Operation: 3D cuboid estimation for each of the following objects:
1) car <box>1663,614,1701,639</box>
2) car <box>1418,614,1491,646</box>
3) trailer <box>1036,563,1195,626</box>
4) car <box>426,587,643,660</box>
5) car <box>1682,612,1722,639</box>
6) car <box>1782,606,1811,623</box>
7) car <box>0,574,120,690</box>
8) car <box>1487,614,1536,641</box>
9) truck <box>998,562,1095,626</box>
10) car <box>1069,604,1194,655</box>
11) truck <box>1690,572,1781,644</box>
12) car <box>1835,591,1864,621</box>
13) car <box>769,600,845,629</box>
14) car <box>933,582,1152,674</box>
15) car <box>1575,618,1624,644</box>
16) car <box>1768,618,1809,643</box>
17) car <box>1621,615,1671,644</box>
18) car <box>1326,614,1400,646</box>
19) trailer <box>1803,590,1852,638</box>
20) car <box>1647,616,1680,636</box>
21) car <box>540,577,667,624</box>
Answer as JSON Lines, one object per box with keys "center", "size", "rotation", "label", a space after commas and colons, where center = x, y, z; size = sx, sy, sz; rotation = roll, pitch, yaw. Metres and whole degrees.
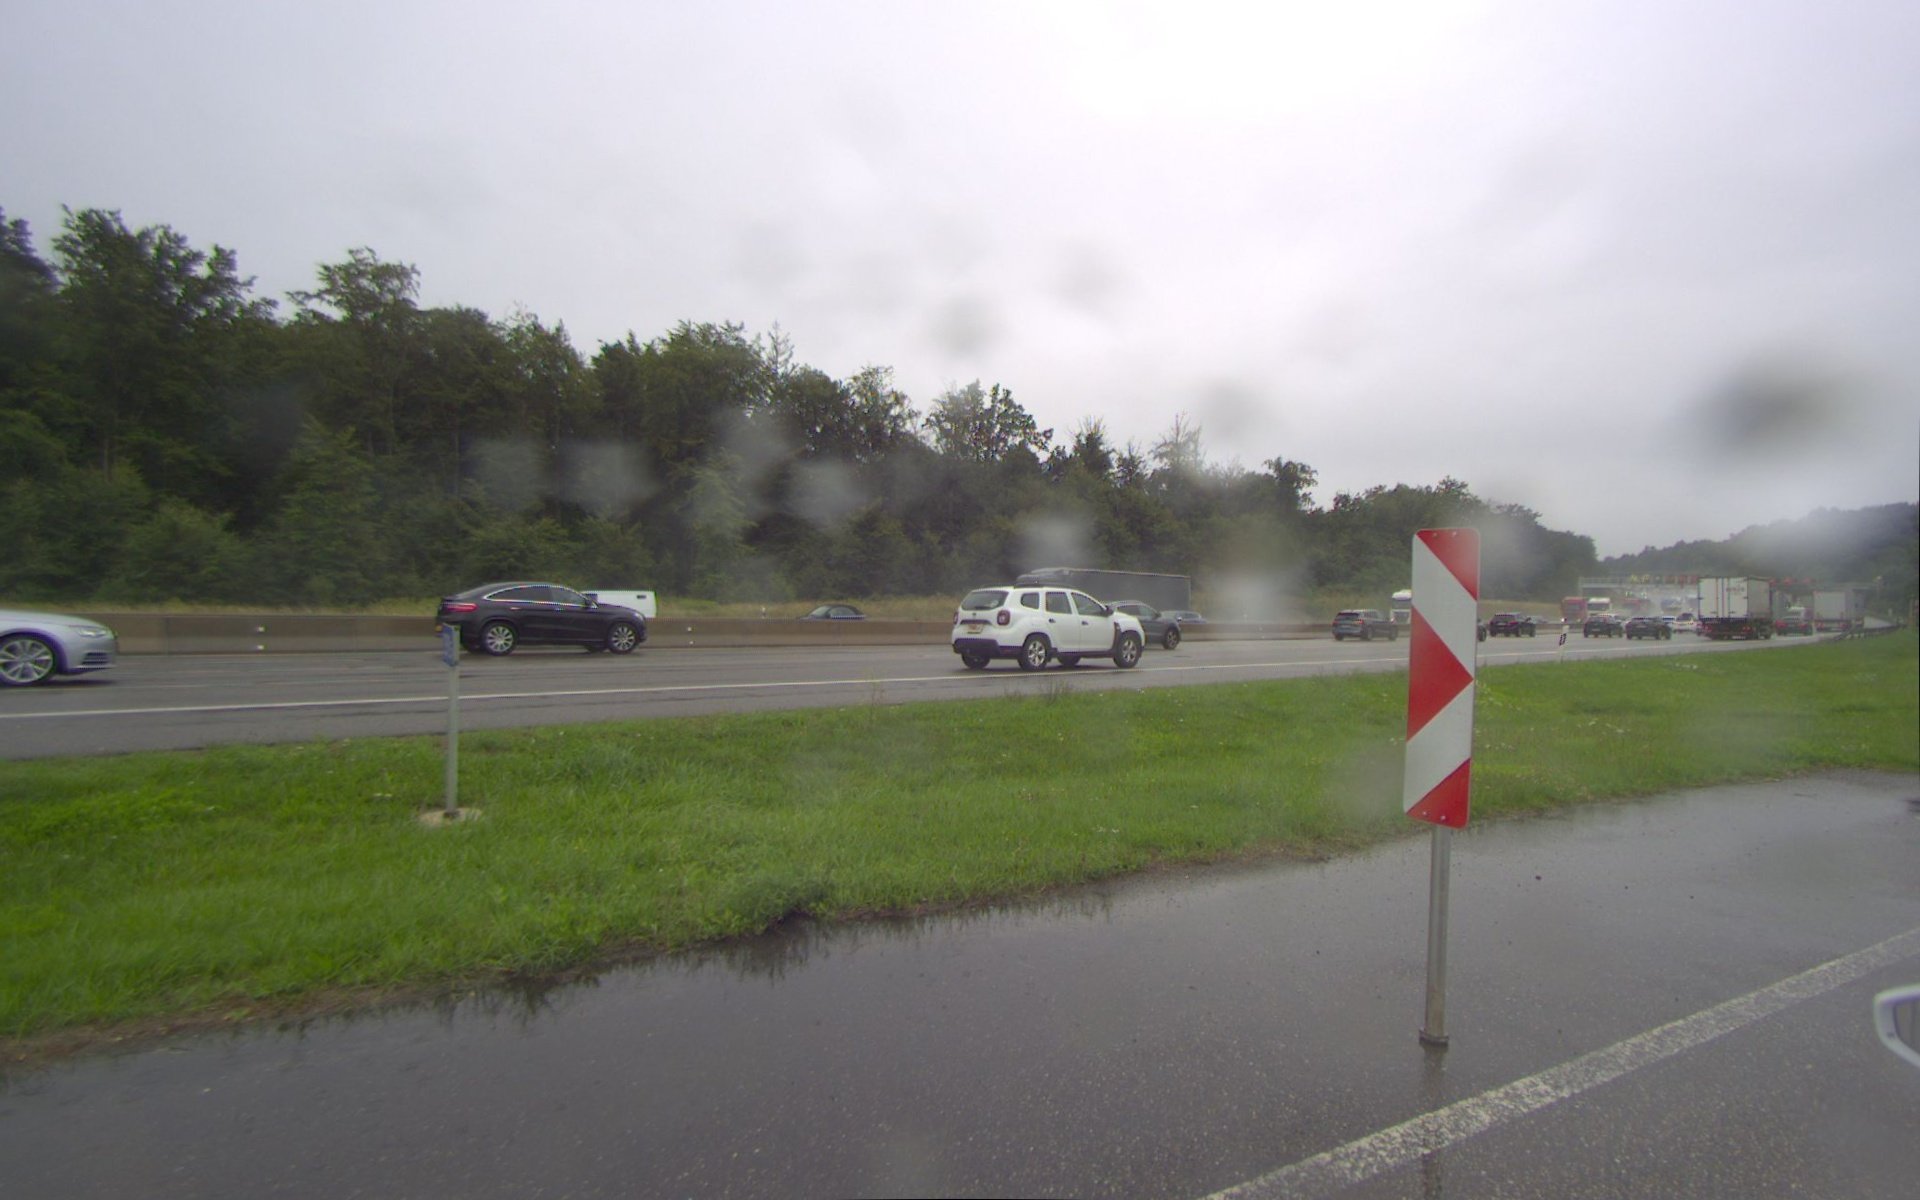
{"center": [64.692, 2.362, 90.003], "size": [3.971, 2.040, 1.975], "rotation": [2, 1, -43], "label": "car"}
{"center": [25.762, 1.554, 52.256], "size": [4.298, 1.547, 1.774], "rotation": [2, -1, -39], "label": "car"}
{"center": [10.812, -0.319, 68.034], "size": [13.312, 3.863, 2.999], "rotation": [1, 2, -43], "label": "trailer"}
{"center": [-10.088, 0.578, 24.022], "size": [4.489, 1.596, 1.690], "rotation": [2, -2, -41], "label": "car"}
{"center": [57.965, 2.019, 78.478], "size": [4.305, 1.997, 1.771], "rotation": [2, 0, -44], "label": "car"}
{"center": [102.683, 1.779, 123.306], "size": [3.968, 1.840, 1.976], "rotation": [1, 3, -40], "label": "car"}
{"center": [-12.797, 0.372, 11.736], "size": [4.546, 1.366, 1.830], "rotation": [1, -2, -41], "label": "car"}
{"center": [38.133, 1.903, 69.442], "size": [4.069, 1.759, 1.760], "rotation": [2, -1, -42], "label": "car"}
{"center": [5.458, -0.379, 63.013], "size": [5.604, 3.797, 3.013], "rotation": [1, 2, -43], "label": "truck"}
{"center": [5.734, 0.973, 33.294], "size": [4.299, 1.595, 1.704], "rotation": [2, -1, -40], "label": "car"}
{"center": [51.069, 0.631, 65.936], "size": [11.758, 4.349, 2.822], "rotation": [2, -1, -43], "label": "truck"}
{"center": [111.286, 0.804, 125.668], "size": [2.346, 3.532, 4.788], "rotation": [5, 3, 43], "label": "car"}
{"center": [-6.485, 0.606, 42.580], "size": [2.866, 1.096, 1.425], "rotation": [2, 1, -41], "label": "car"}
{"center": [1.685, 0.537, 19.511], "size": [4.289, 1.607, 1.771], "rotation": [1, -2, -41], "label": "car"}
{"center": [44.340, 2.155, 69.616], "size": [4.068, 1.759, 1.760], "rotation": [1, -2, -42], "label": "car"}
{"center": [66.646, 2.435, 80.809], "size": [3.971, 1.840, 1.975], "rotation": [1, 1, -43], "label": "car"}
{"center": [43.212, 1.853, 63.256], "size": [3.818, 1.759, 1.760], "rotation": [2, -1, -42], "label": "car"}
{"center": [21.192, 1.579, 52.776], "size": [4.422, 1.594, 1.704], "rotation": [2, -1, -39], "label": "car"}
{"center": [89.706, 1.512, 103.825], "size": [3.509, 4.673, 12.053], "rotation": [0, -1, 42], "label": "trailer"}
{"center": [72.201, 2.677, 103.107], "size": [3.971, 2.040, 1.975], "rotation": [2, -1, -43], "label": "car"}
{"center": [-15.652, 0.027, 44.216], "size": [4.886, 1.860, 1.976], "rotation": [2, 1, -41], "label": "car"}
